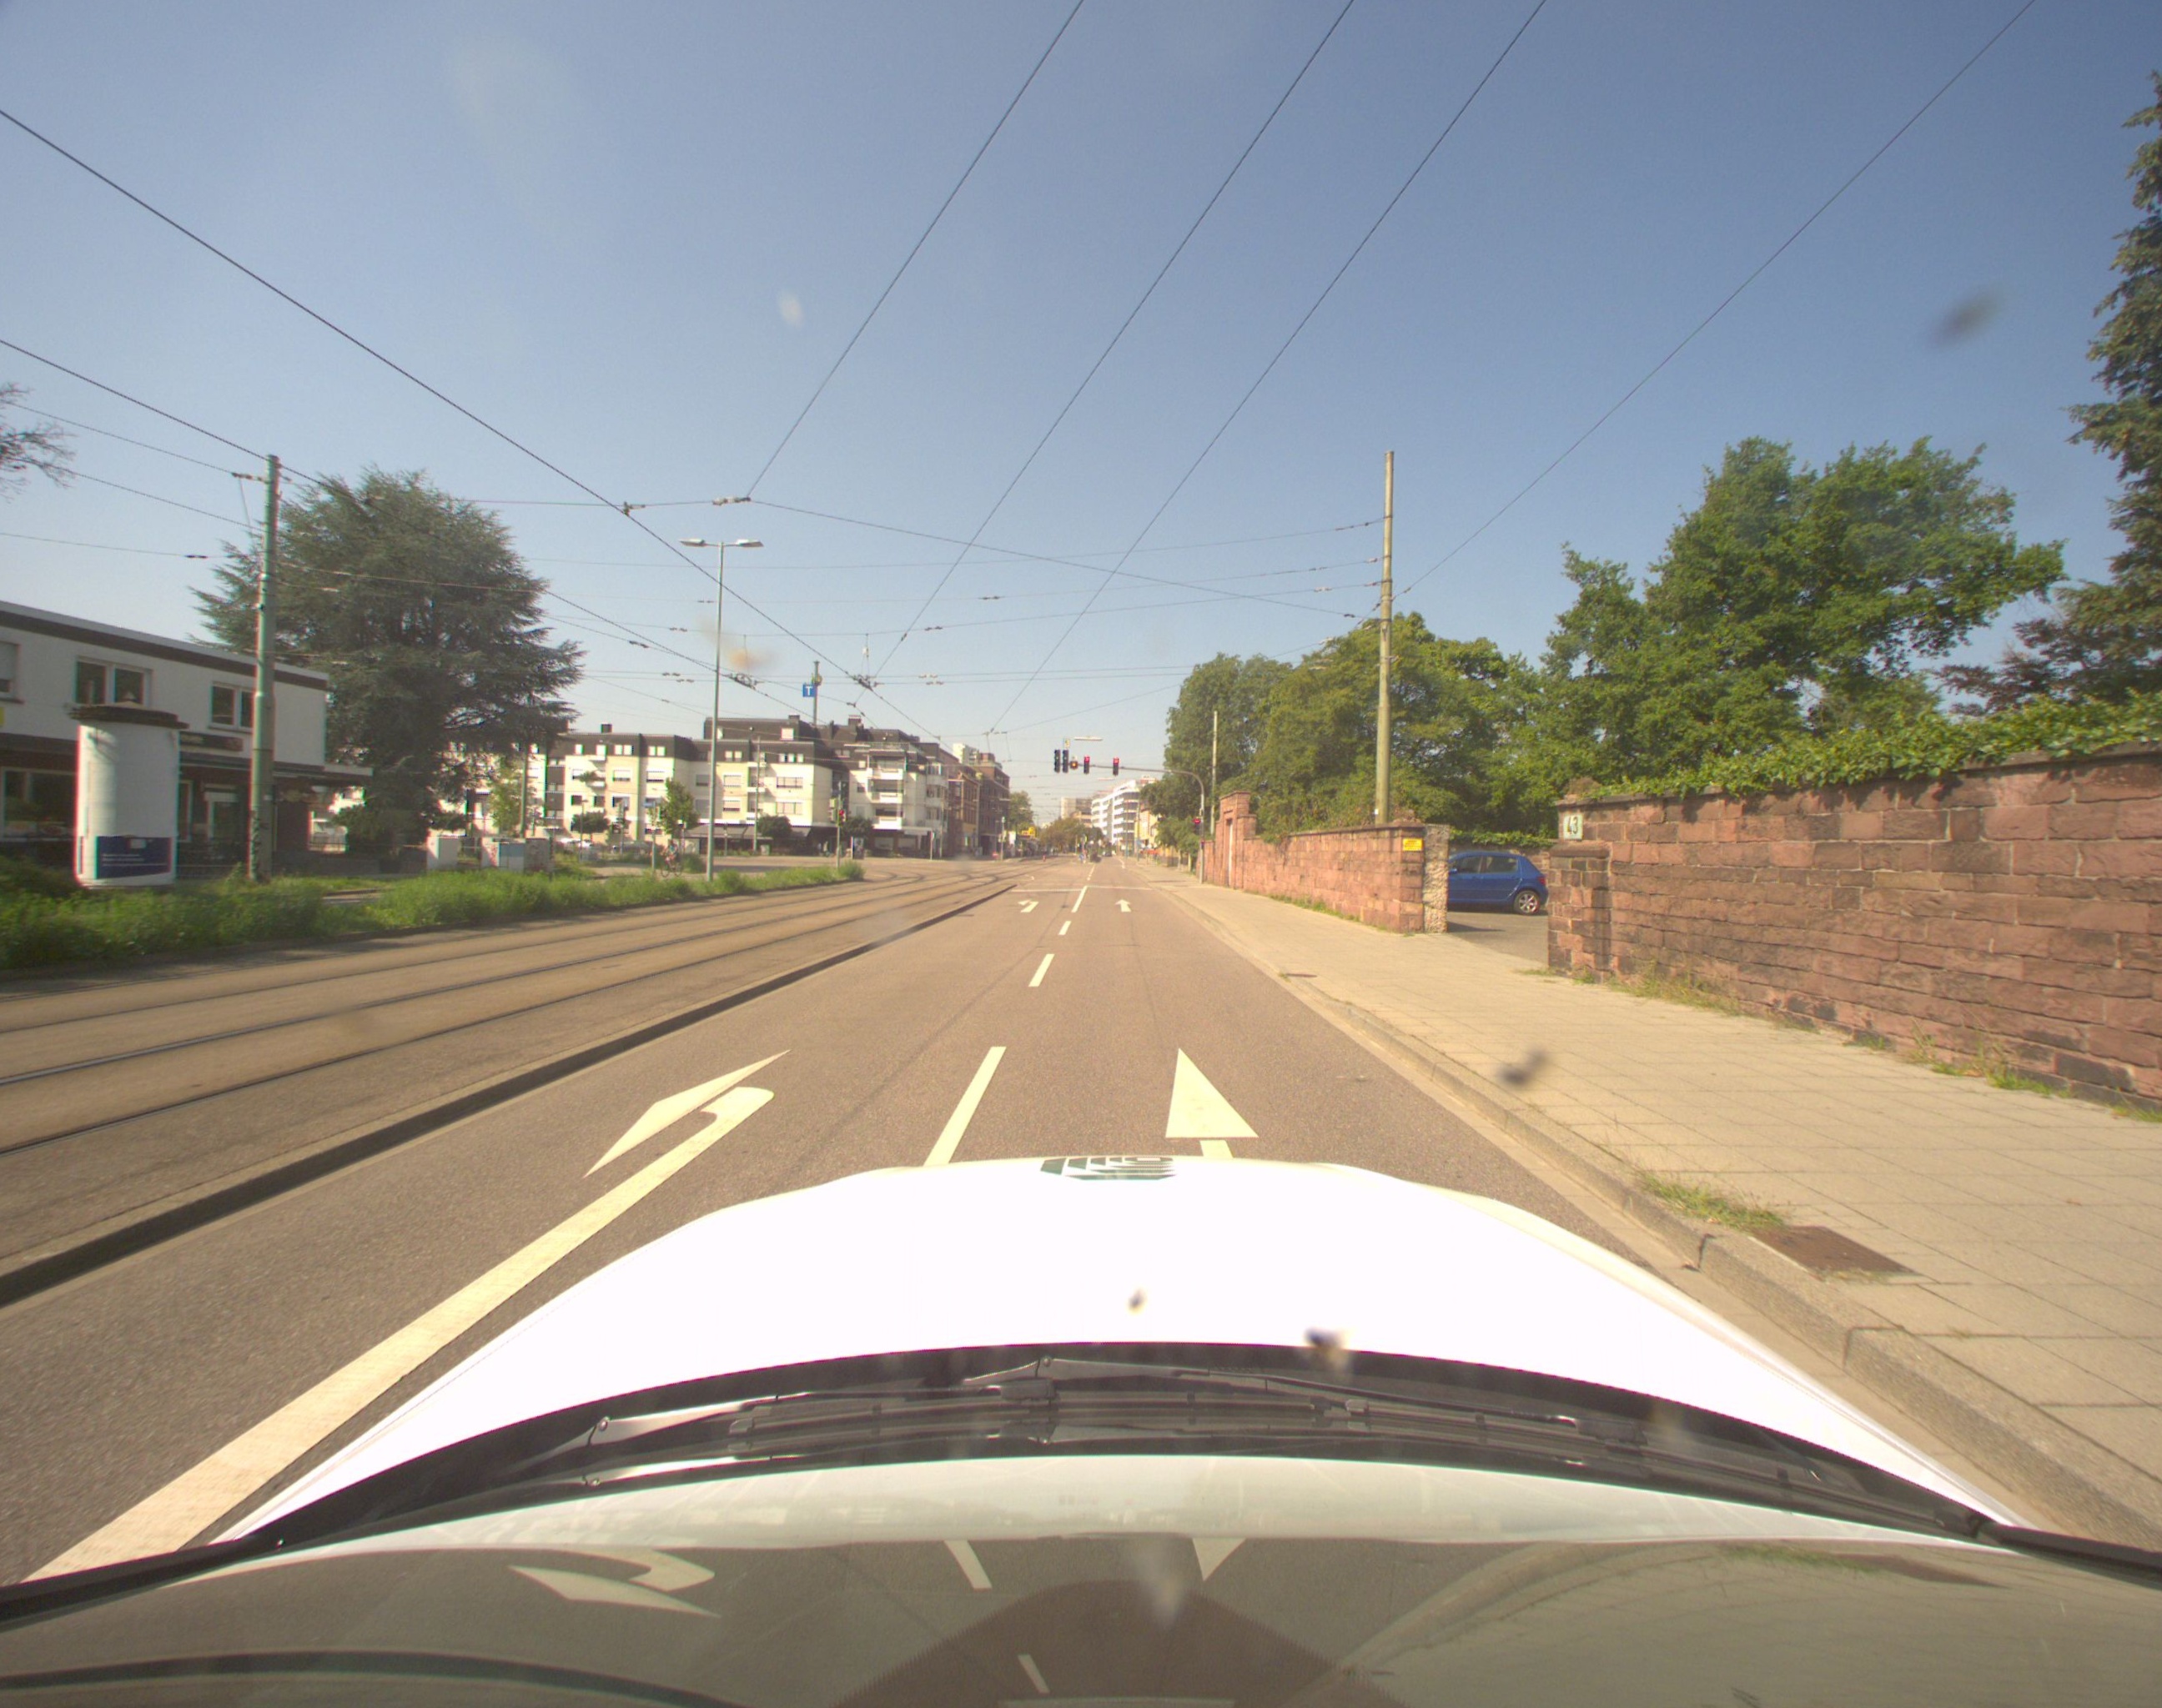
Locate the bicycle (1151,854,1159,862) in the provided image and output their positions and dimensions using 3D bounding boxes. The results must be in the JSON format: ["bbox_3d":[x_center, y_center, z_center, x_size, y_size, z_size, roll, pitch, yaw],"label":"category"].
[{"bbox_3d":[11.507,0.583,126.390,0.730,1.132,2.834,-2,0,-5],"label":"bicycle"}]

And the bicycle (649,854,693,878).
[{"bbox_3d":[-18.935,0.536,37.637,0.711,1.091,2.269,0,0,6],"label":"bicycle"}]

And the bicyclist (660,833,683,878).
[{"bbox_3d":[-18.923,0.061,37.628,0.634,2.064,0.776,0,0,6],"label":"bicyclist"}]

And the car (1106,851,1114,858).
[{"bbox_3d":[7.738,0.254,215.862,2.003,1.859,4.003,0,0,3],"label":"car"}]

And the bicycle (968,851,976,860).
[{"bbox_3d":[-14.370,0.143,107.249,0.572,1.179,2.210,0,0,4],"label":"bicycle"}]

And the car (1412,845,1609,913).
[{"bbox_3d":[10.643,0.597,20.388,3.954,1.464,1.778,2,1,0],"label":"car"}]

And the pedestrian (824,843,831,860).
[{"bbox_3d":[-26.587,-0.298,85.290,0.602,1.745,0.560,0,0,-32],"label":"pedestrian"}]

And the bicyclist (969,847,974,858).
[{"bbox_3d":[-14.377,-0.197,107.072,0.566,1.523,0.490,0,0,3],"label":"bicyclist"}]

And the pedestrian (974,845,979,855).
[{"bbox_3d":[-16.780,-0.587,130.533,0.479,1.560,0.890,3,-1,13],"label":"pedestrian"}]

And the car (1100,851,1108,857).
[{"bbox_3d":[6.284,-0.006,222.117,2.003,1.859,4.003,0,0,3],"label":"car"}]

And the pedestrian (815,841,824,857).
[{"bbox_3d":[-28.544,-0.579,88.894,0.677,1.741,0.698,0,0,3],"label":"pedestrian"}]

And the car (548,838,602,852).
[{"bbox_3d":[-48.626,-0.824,78.348,4.095,1.299,1.673,0,0,1],"label":"car"}]
